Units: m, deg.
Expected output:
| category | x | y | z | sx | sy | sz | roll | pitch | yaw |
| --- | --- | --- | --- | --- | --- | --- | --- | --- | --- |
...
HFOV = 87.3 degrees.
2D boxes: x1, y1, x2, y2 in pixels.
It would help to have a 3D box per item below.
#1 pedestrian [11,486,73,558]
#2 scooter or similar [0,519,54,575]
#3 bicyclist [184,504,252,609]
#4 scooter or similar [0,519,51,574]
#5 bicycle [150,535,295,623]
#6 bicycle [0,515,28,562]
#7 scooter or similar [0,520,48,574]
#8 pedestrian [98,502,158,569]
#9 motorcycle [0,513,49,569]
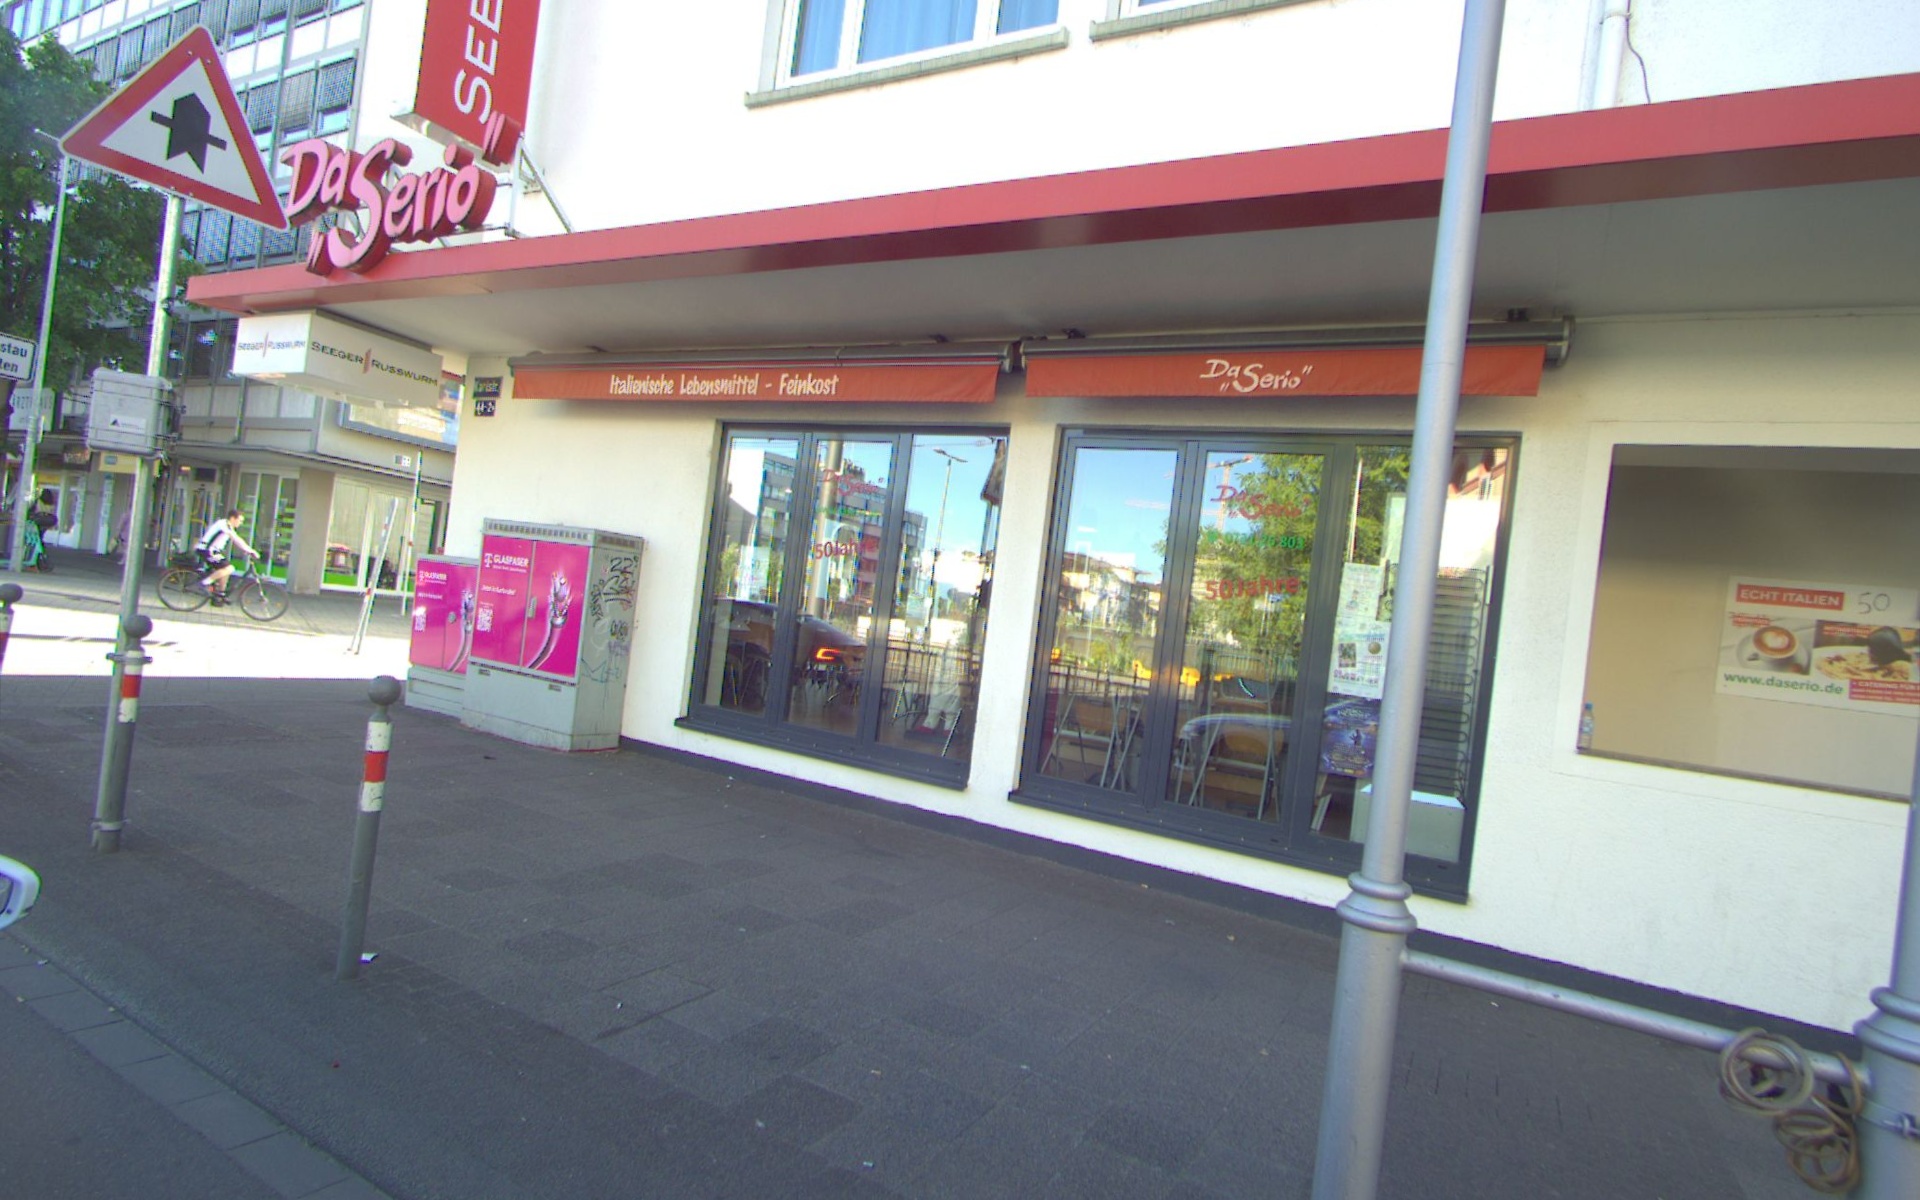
| category | x | y | z | sx | sy | sz | roll | pitch | yaw |
| --- | --- | --- | --- | --- | --- | --- | --- | --- | --- |
| pedestrian | -24.010 | -2.036 | 26.312 | 0.865 | 1.727 | 0.844 | 6 | -1 | 31 |
| scooter or similar | -19.692 | -1.117 | 21.073 | 0.157 | 1.056 | 0.964 | 7 | -1 | 34 |
| bicyclist | -12.463 | -0.725 | 16.920 | 0.676 | 1.650 | 0.574 | 8 | -1 | -30 |
| scooter or similar | -19.854 | -1.122 | 21.182 | 0.157 | 1.051 | 0.957 | 7 | -1 | 34 |
| bicycle | -12.396 | -0.339 | 16.978 | 1.807 | 1.226 | 0.578 | 8 | -2 | -30 |
| bicycle | -23.184 | -1.525 | 23.634 | 0.392 | 1.069 | 1.856 | 7 | 0 | 21 |
| scooter or similar | -20.018 | -1.129 | 21.293 | 0.157 | 1.039 | 0.964 | 7 | -1 | 34 |
| pedestrian | -22.149 | -1.715 | 26.779 | 0.865 | 1.621 | 0.844 | 6 | -1 | 31 |
| motorcycle | -21.564 | -1.381 | 22.368 | 0.495 | 1.142 | 1.791 | 7 | -2 | 29 |
